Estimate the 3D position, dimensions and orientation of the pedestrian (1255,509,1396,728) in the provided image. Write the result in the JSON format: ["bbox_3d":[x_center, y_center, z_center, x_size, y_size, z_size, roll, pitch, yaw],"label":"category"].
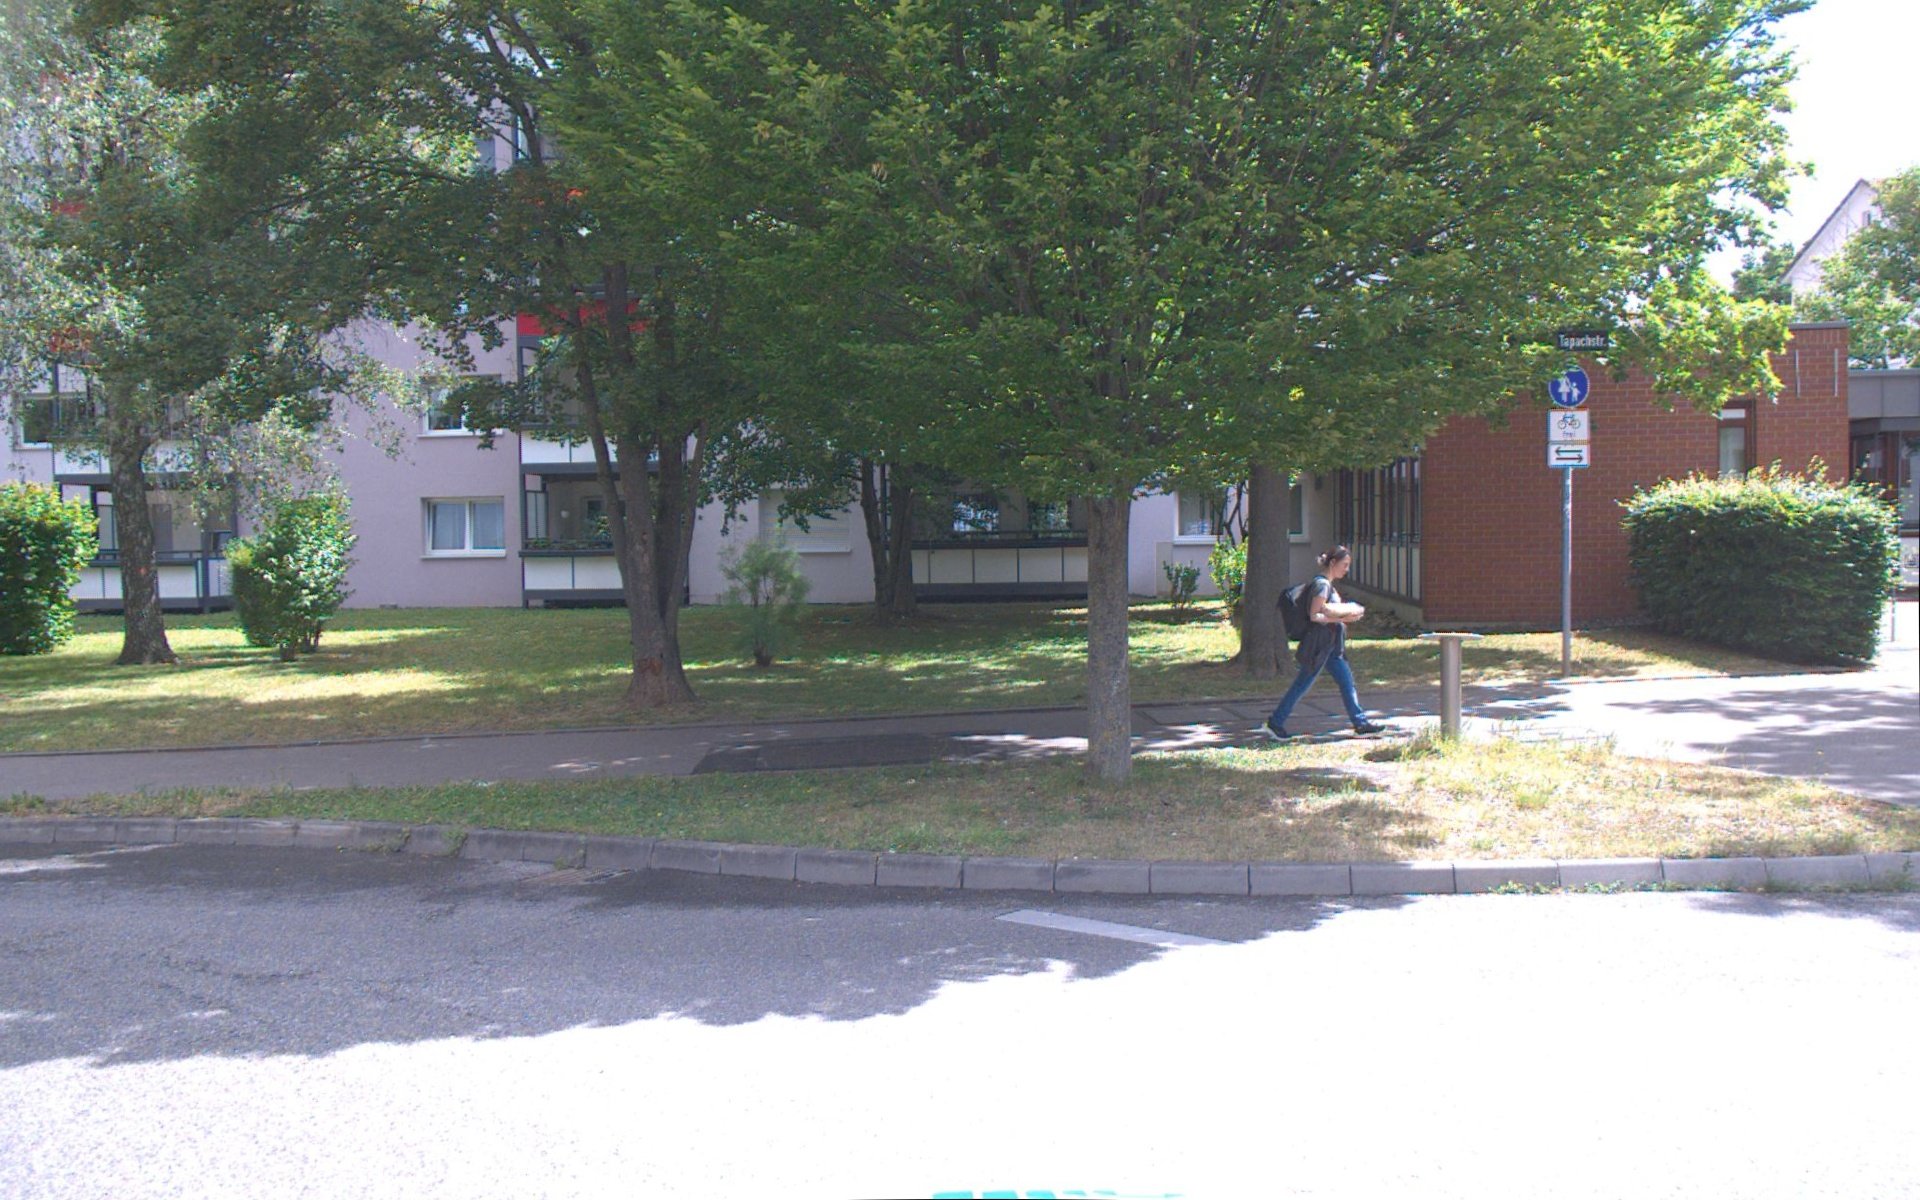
[{"bbox_3d":[2.836,0.129,12.901,0.822,1.606,0.721,-4,1,-3],"label":"pedestrian"}]
